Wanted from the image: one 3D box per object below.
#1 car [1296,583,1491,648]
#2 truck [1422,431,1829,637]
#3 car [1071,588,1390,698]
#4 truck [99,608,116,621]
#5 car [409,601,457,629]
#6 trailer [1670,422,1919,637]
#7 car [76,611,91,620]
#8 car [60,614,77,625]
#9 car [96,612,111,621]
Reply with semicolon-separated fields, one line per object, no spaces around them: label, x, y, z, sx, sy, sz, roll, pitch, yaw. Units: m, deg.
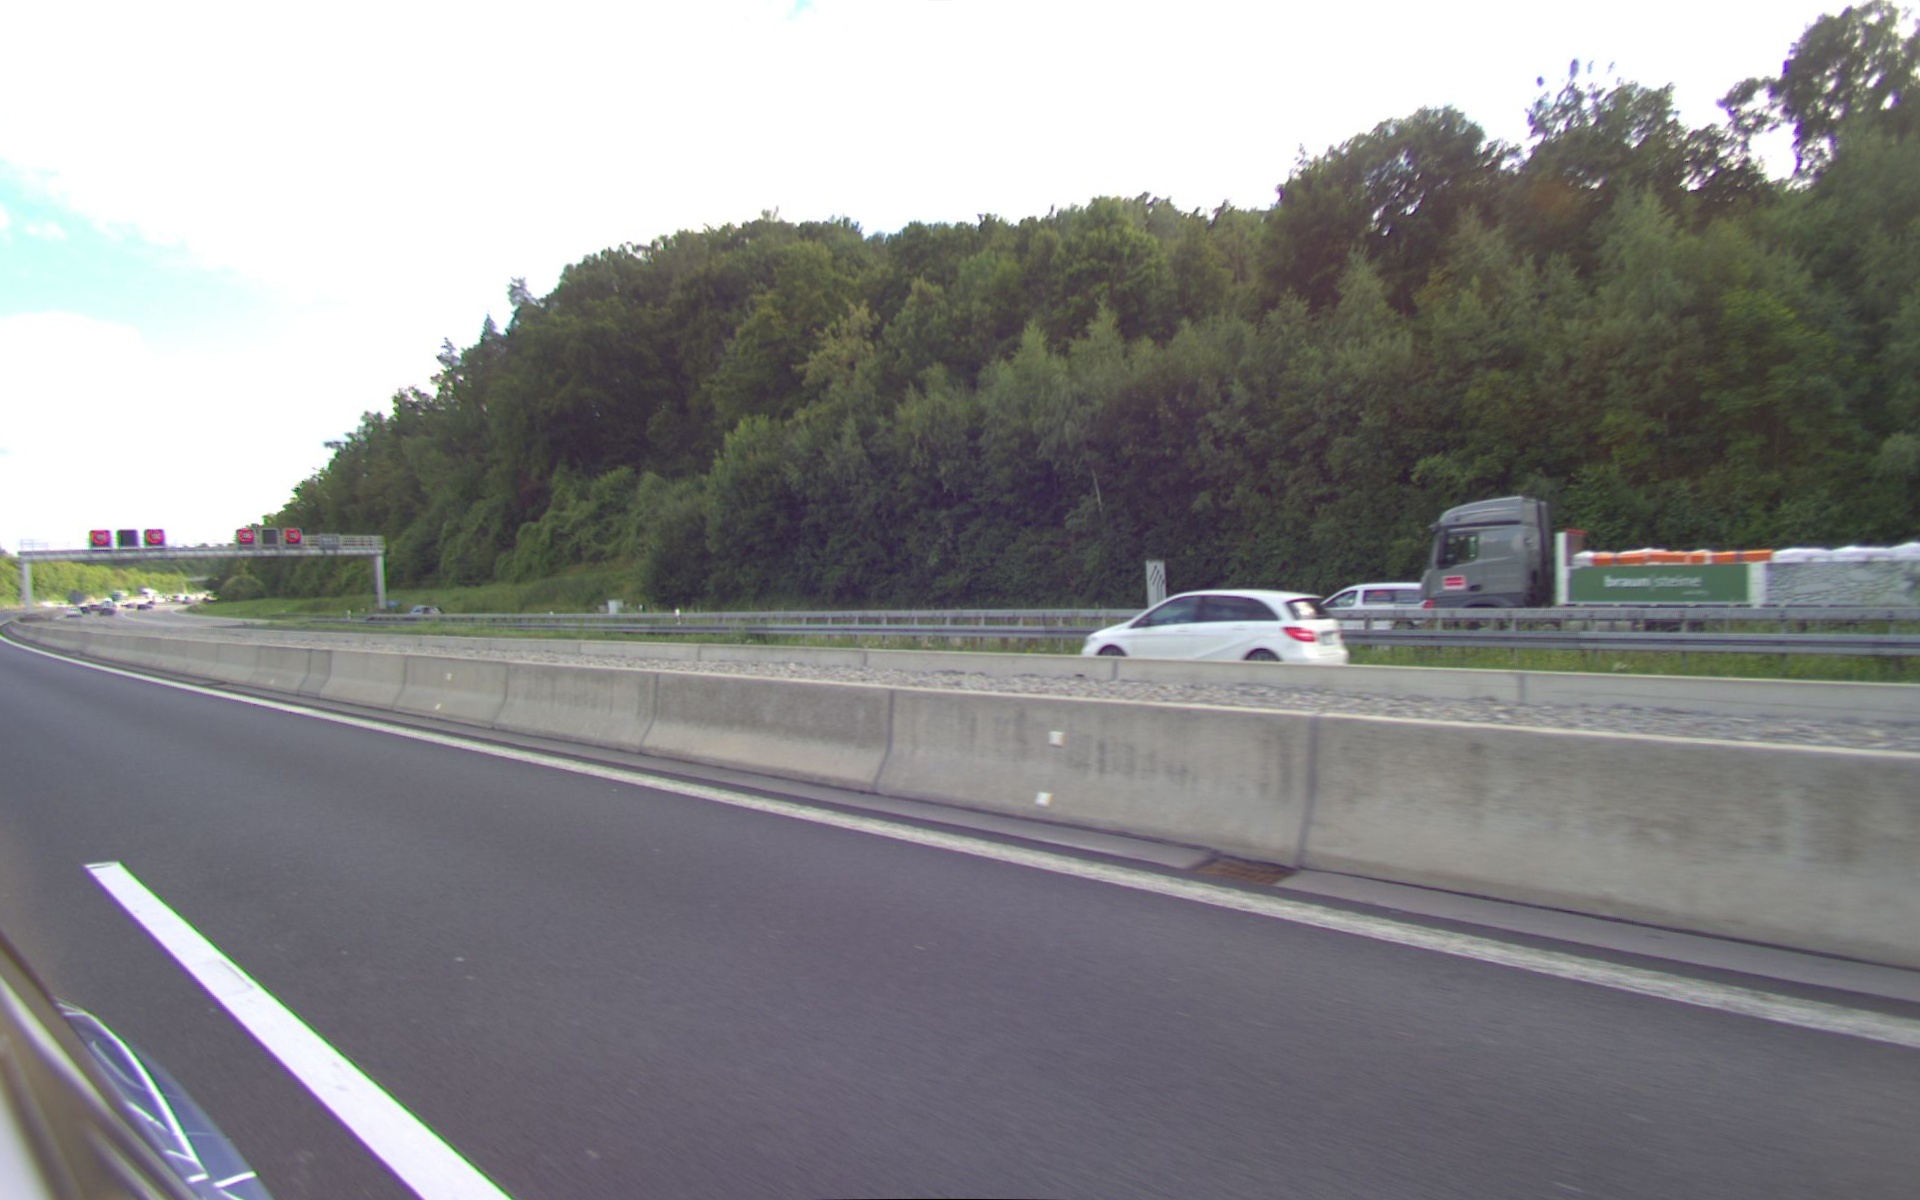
car;13.453;0.420;31.625;5.262;1.868;1.972;0;1;43
truck;14.392;-1.210;22.343;7.123;3.855;2.781;-1;0;40
car;4.231;0.580;16.377;4.765;1.539;1.695;0;1;41
truck;-157.604;2.638;187.062;2.158;2.242;5.577;-1;0;-43
car;-40.087;1.108;76.965;4.000;2.029;1.972;-1;0;43
trailer;19.894;-1.319;17.568;12.179;3.835;2.784;-1;0;40
car;-157.852;2.772;182.189;1.969;1.653;4.005;-1;0;-42
car;-132.654;2.865;150.629;1.744;1.593;4.937;-1;0;-43
car;-139.461;2.666;164.839;1.646;1.406;4.605;-1;0;-43
